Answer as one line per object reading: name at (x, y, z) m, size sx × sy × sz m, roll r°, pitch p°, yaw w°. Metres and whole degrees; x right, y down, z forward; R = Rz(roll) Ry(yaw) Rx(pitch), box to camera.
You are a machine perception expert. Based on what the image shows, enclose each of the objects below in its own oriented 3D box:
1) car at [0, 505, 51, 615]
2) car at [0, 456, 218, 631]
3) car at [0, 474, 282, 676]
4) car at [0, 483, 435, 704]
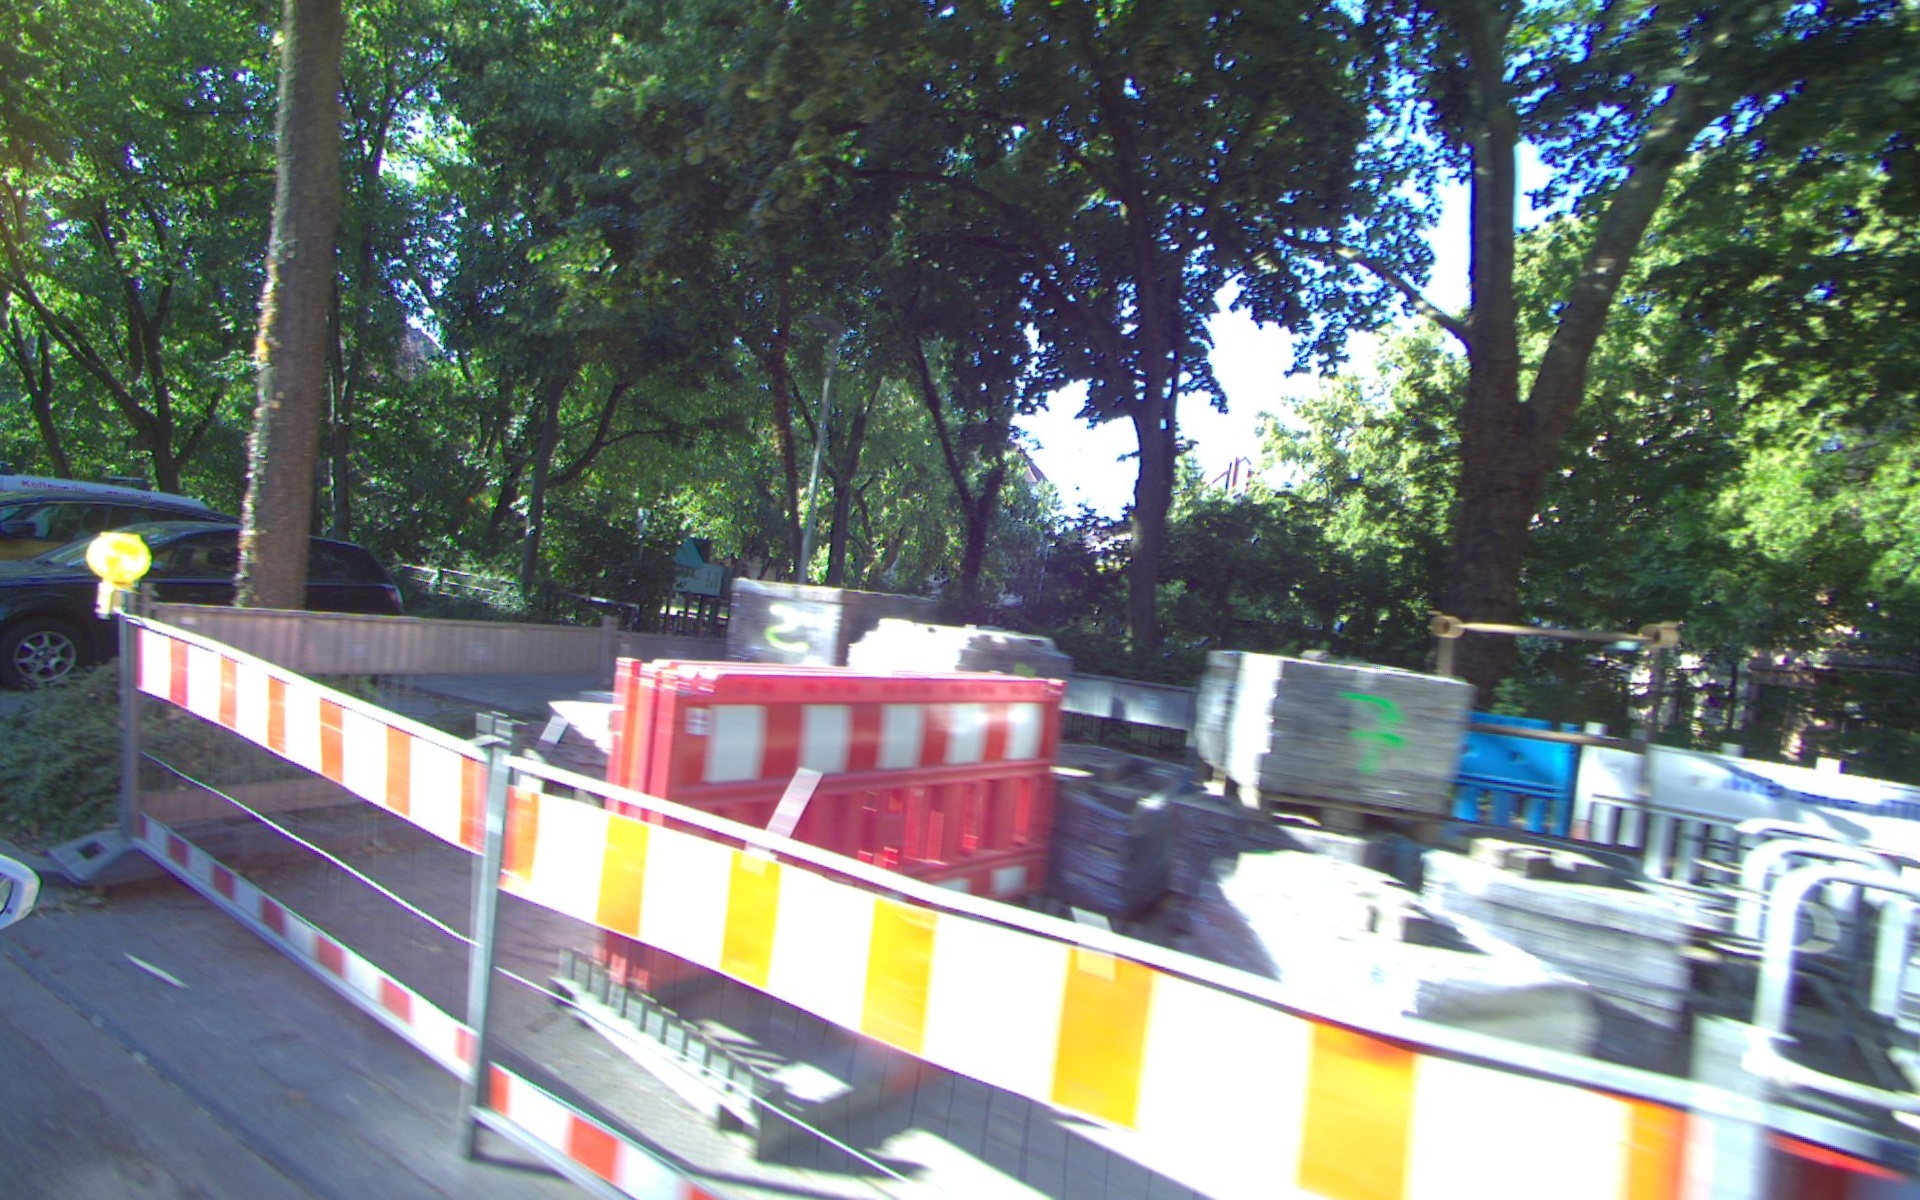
car at (-15.782, -0.833, 14.182) m, size 1.638 × 1.592 × 3.995 m, roll 6°, pitch -2°, yaw 32°
car at (-11.769, -0.742, 11.670) m, size 1.840 × 1.950 × 4.677 m, roll 6°, pitch 1°, yaw 28°
car at (-9.539, -0.321, 10.122) m, size 1.770 × 1.778 × 3.993 m, roll 6°, pitch -2°, yaw 34°
car at (-7.304, 0.010, 9.237) m, size 1.767 × 1.646 × 4.000 m, roll 7°, pitch -2°, yaw 26°
